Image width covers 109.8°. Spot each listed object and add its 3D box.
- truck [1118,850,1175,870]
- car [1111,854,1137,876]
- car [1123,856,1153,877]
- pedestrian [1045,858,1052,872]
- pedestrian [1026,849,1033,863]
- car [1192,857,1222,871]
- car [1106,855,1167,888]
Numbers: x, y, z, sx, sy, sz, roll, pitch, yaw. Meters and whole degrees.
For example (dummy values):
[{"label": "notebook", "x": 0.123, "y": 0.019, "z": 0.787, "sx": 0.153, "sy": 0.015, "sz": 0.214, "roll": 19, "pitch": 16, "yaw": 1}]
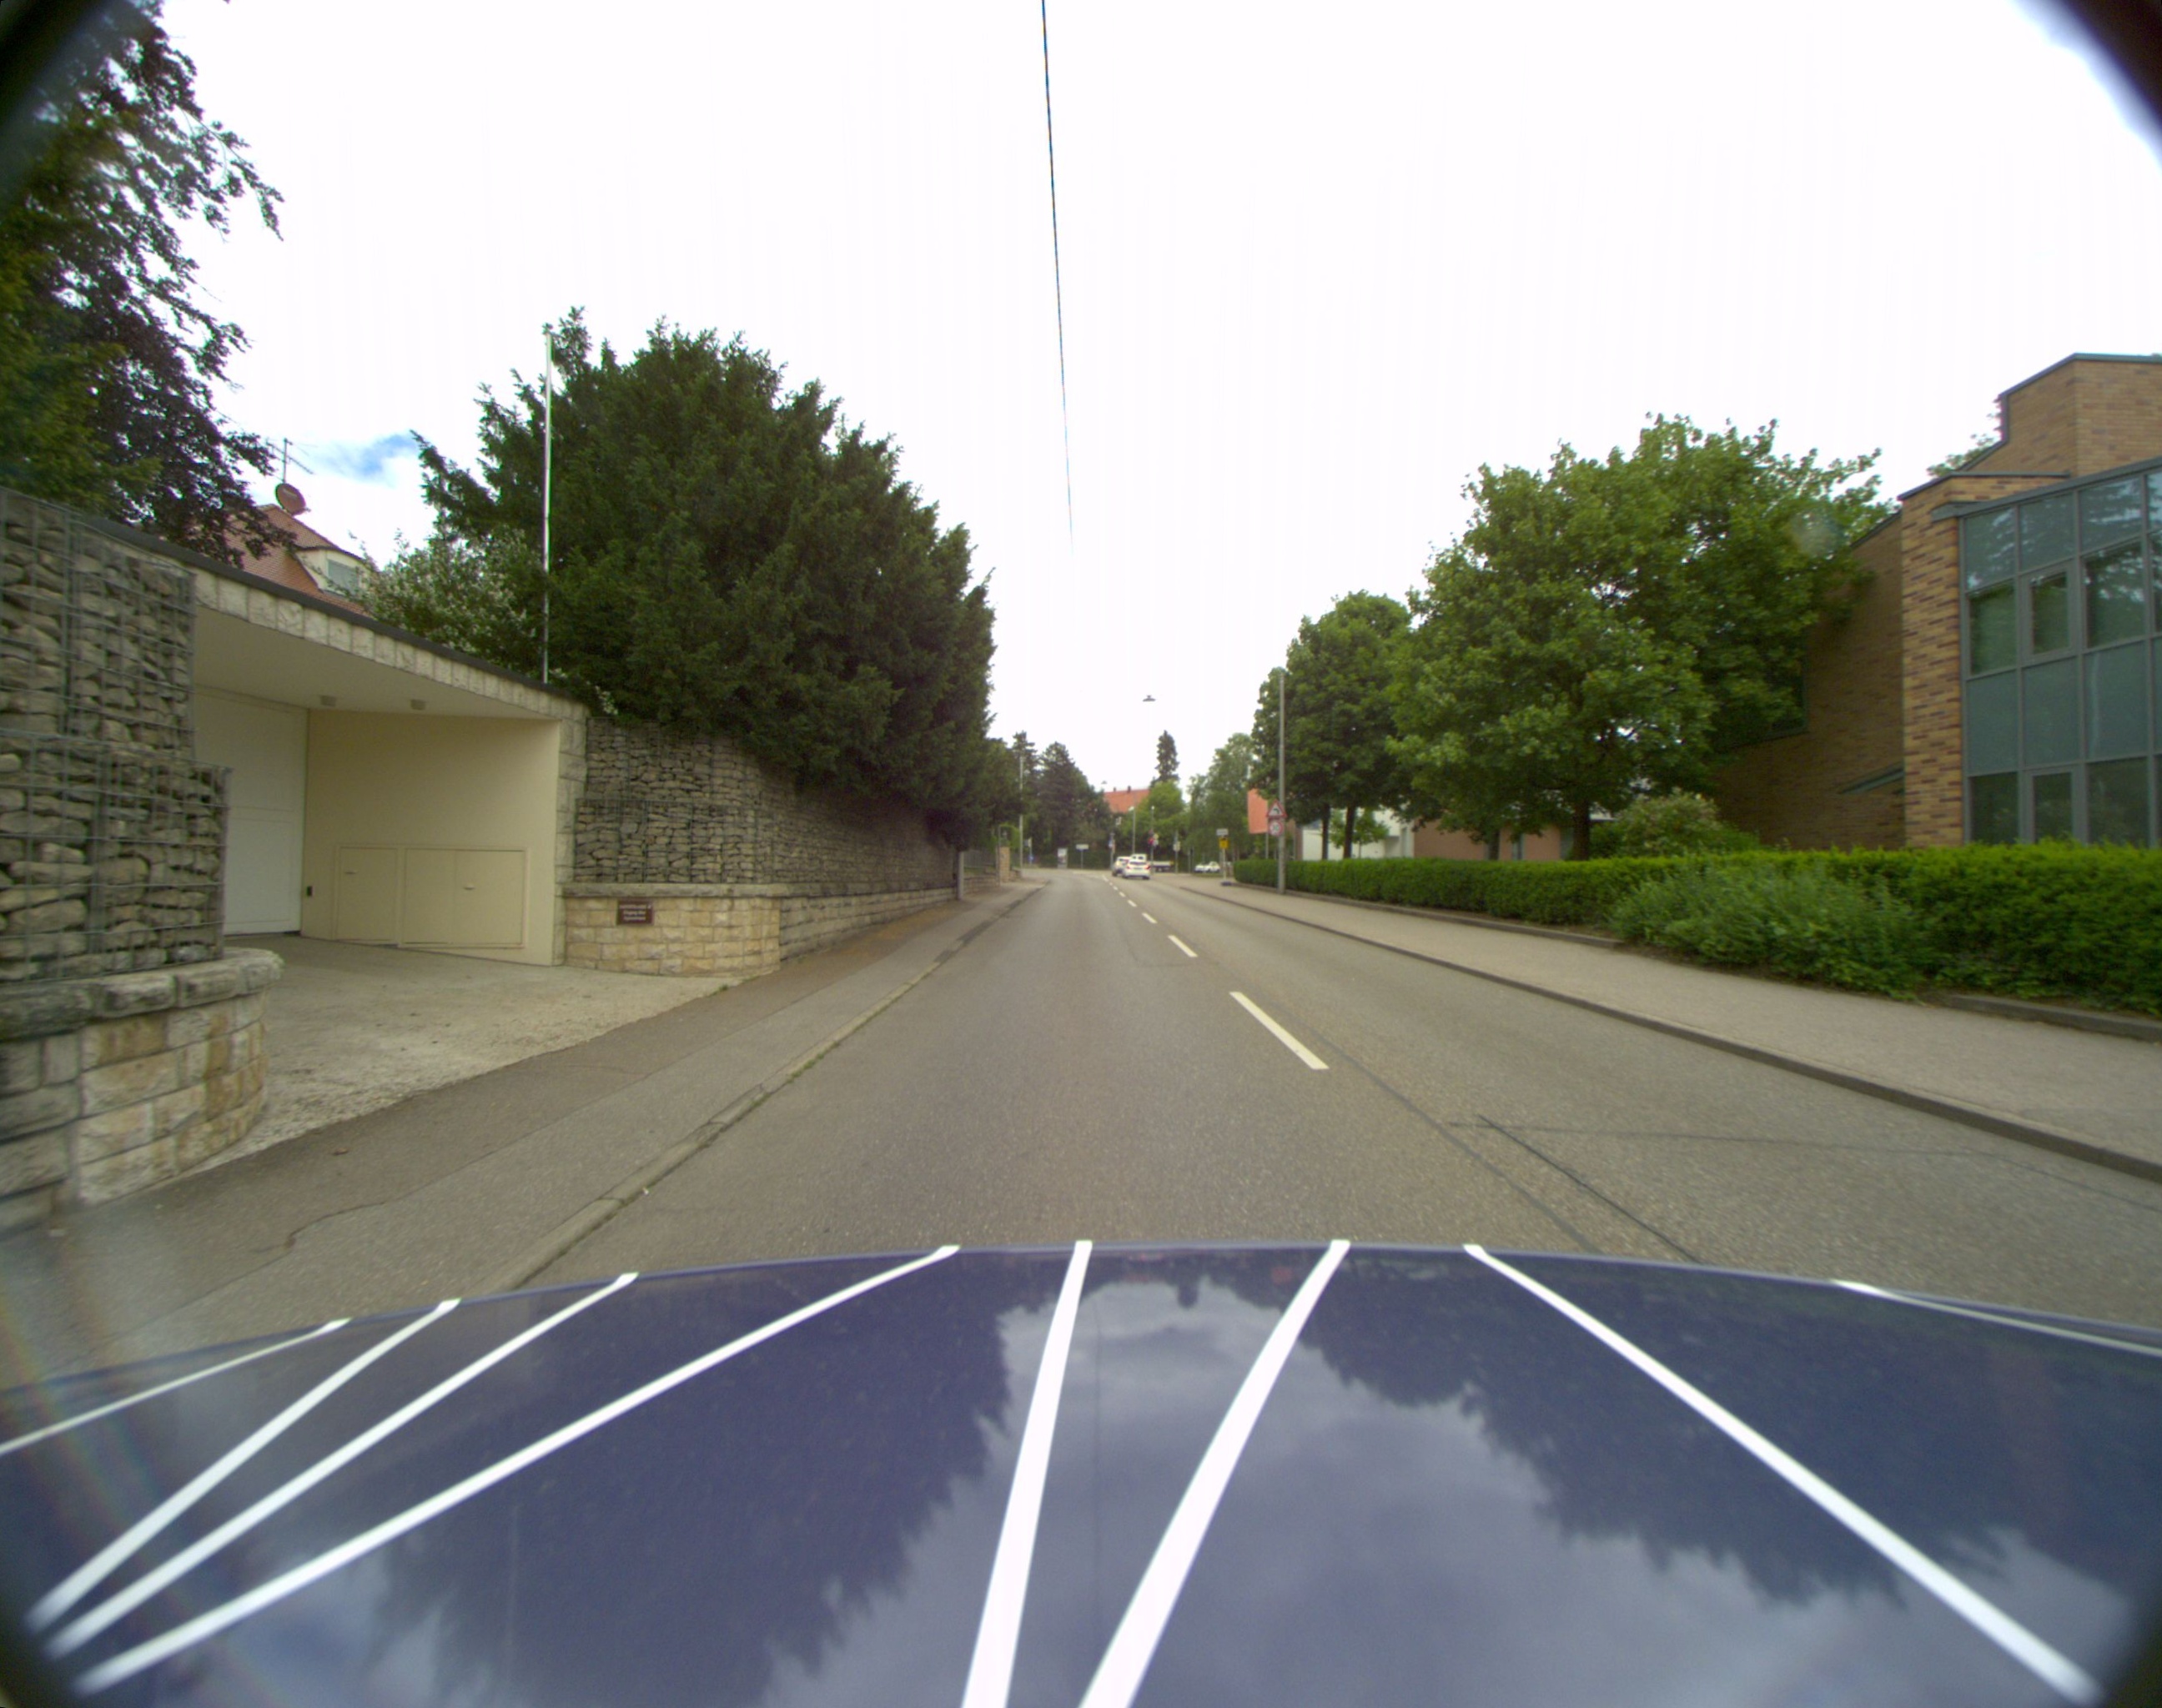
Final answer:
[{"label": "truck", "x": 8.116, "y": 0.716, "z": 93.863, "sx": 6.706, "sy": 2.176, "sz": 2.532, "roll": 2, "pitch": 1, "yaw": 11}, {"label": "car", "x": 3.487, "y": 0.835, "z": 61.858, "sx": 1.773, "sy": 1.628, "sz": 4.301, "roll": 3, "pitch": 0, "yaw": 0}, {"label": "car", "x": 4.105, "y": 0.861, "z": 55.352, "sx": 1.771, "sy": 1.413, "sz": 4.065, "roll": 2, "pitch": 0, "yaw": 0}, {"label": "pedestrian", "x": -4.168, "y": 1.388, "z": 98.595, "sx": 0.611, "sy": 1.824, "sz": 0.605, "roll": 2, "pitch": 0, "yaw": 26}, {"label": "pedestrian", "x": -6.805, "y": 0.271, "z": 99.708, "sx": 0.665, "sy": 1.777, "sz": 0.614, "roll": 2, "pitch": 0, "yaw": 28}, {"label": "car", "x": 16.001, "y": 1.273, "z": 96.361, "sx": 1.994, "sy": 1.603, "sz": 4.009, "roll": 2, "pitch": 0, "yaw": 38}, {"label": "car", "x": 3.667, "y": 1.165, "z": 50.661, "sx": 3.750, "sy": 1.603, "sz": 1.814, "roll": 9, "pitch": 0, "yaw": -1}]
